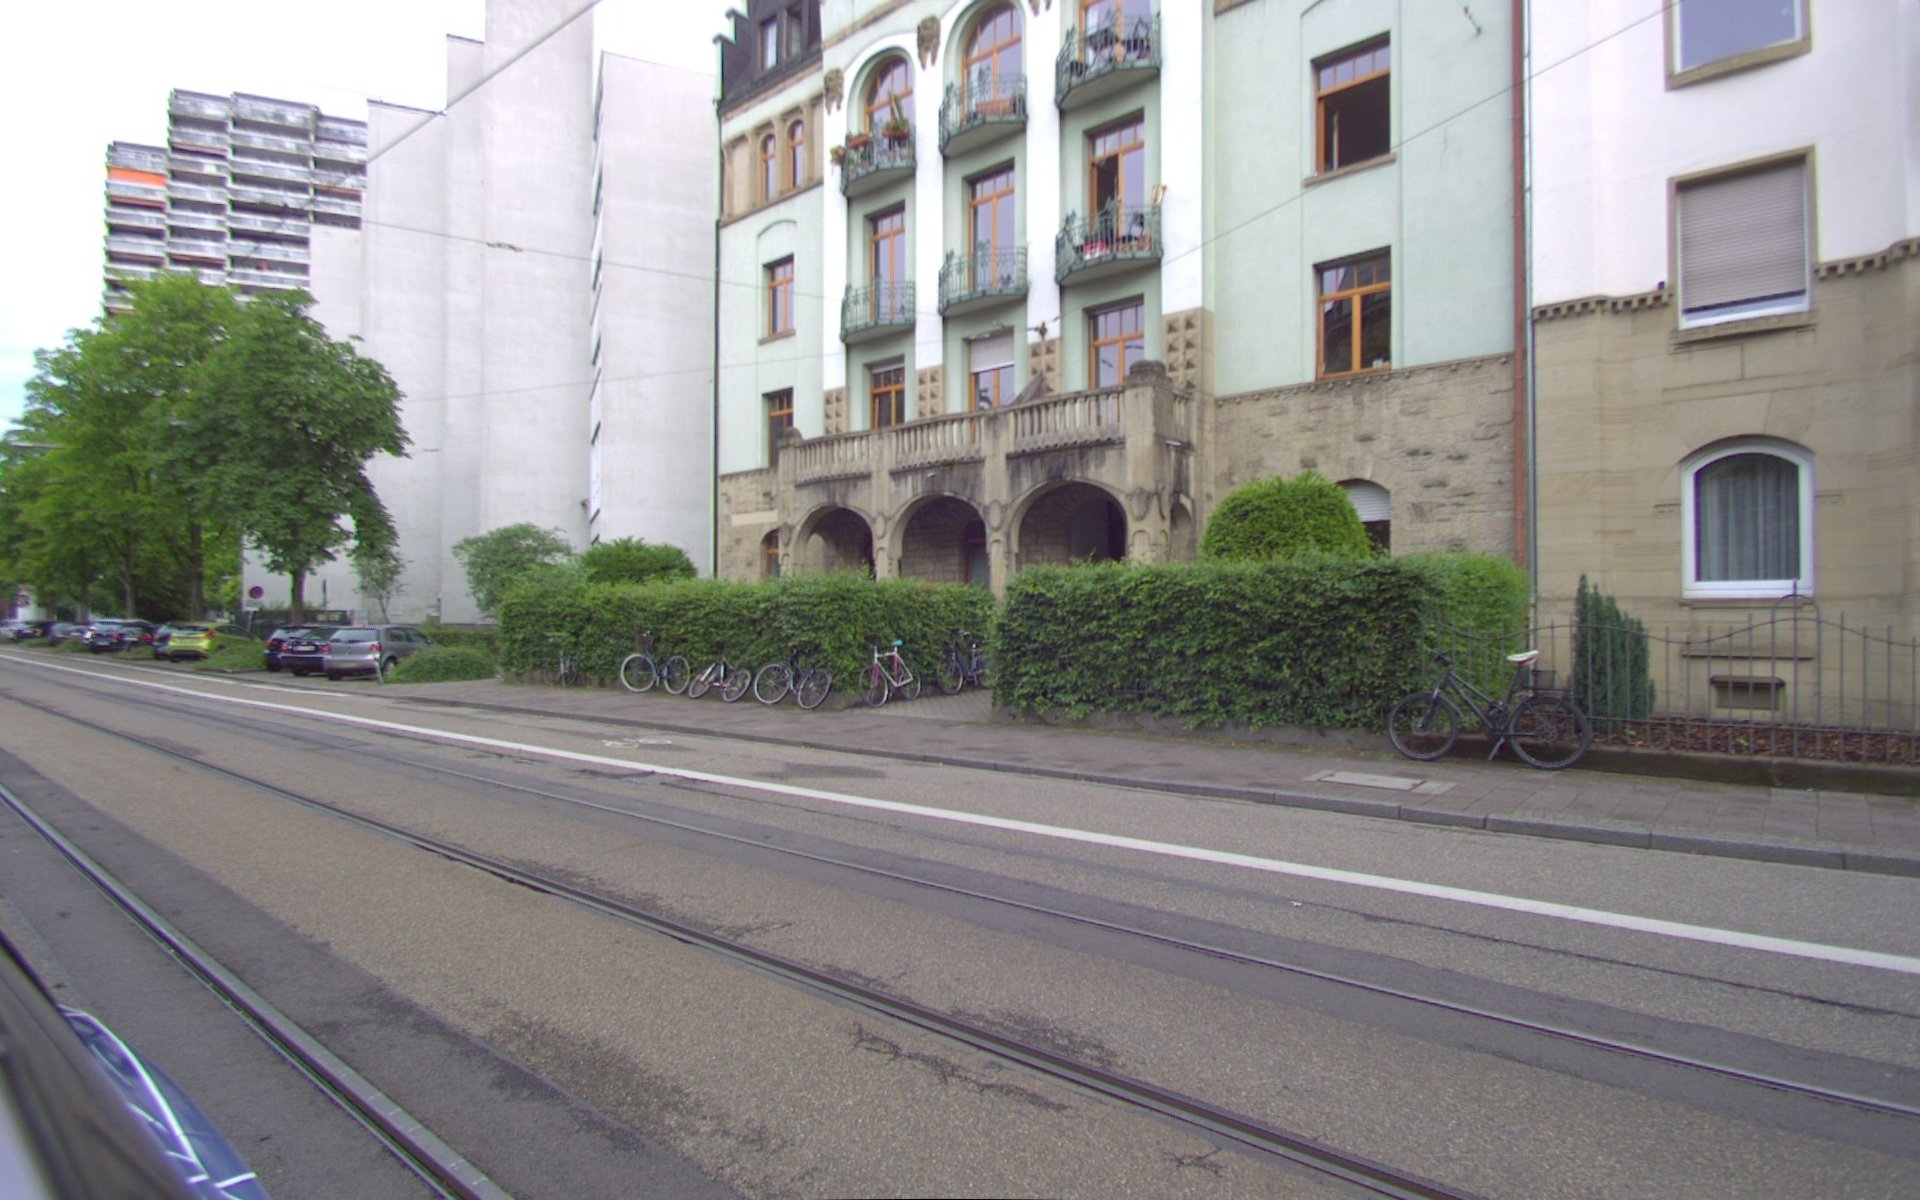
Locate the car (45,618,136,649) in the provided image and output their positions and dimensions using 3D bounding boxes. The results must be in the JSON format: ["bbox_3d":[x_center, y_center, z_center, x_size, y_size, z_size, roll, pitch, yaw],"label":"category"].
[{"bbox_3d":[-47.514,1.799,55.390,1.670,1.632,4.002,0,-1,-3],"label":"car"}]

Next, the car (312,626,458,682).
[{"bbox_3d":[-15.556,1.419,27.617,1.672,1.413,3.998,0,-1,1],"label":"car"}]

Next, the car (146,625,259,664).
[{"bbox_3d":[-30.020,1.735,40.261,1.670,1.453,4.002,0,-1,-3],"label":"car"}]

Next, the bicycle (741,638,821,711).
[{"bbox_3d":[-2.867,1.166,16.120,1.546,1.092,0.356,-1,-2,41],"label":"bicycle"}]

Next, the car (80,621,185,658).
[{"bbox_3d":[-37.706,1.774,46.226,1.670,1.632,4.002,0,-1,-3],"label":"car"}]

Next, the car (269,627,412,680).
[{"bbox_3d":[-17.813,1.500,29.332,1.672,1.413,3.998,0,-1,1],"label":"car"}]

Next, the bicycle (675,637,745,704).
[{"bbox_3d":[-4.319,1.188,17.447,1.546,1.092,0.356,-1,-2,41],"label":"bicycle"}]

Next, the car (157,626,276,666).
[{"bbox_3d":[-27.863,1.682,38.093,1.670,1.405,4.002,0,-1,-3],"label":"car"}]

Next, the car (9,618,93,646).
[{"bbox_3d":[-55.187,1.912,61.536,1.670,1.632,4.002,0,-1,-3],"label":"car"}]

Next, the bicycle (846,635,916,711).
[{"bbox_3d":[-1.232,1.128,15.993,0.300,1.091,1.190,-1,1,42],"label":"bicycle"}]

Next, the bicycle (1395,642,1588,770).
[{"bbox_3d":[4.935,0.950,9.462,1.546,1.092,0.356,-1,-2,41],"label":"bicycle"}]

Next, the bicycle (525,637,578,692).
[{"bbox_3d":[-8.546,1.323,21.147,1.546,1.092,0.356,-1,-2,41],"label":"bicycle"}]

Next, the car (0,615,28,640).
[{"bbox_3d":[-63.657,1.810,67.461,3.996,1.632,1.673,-1,-2,39],"label":"car"}]

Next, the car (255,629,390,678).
[{"bbox_3d":[-19.890,1.628,31.773,1.672,1.413,3.998,0,-1,1],"label":"car"}]

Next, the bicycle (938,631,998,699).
[{"bbox_3d":[0.154,1.118,17.628,0.300,1.091,1.190,-1,1,42],"label":"bicycle"}]

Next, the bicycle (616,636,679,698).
[{"bbox_3d":[-5.835,1.235,18.875,1.546,1.092,0.356,-1,-2,41],"label":"bicycle"}]
